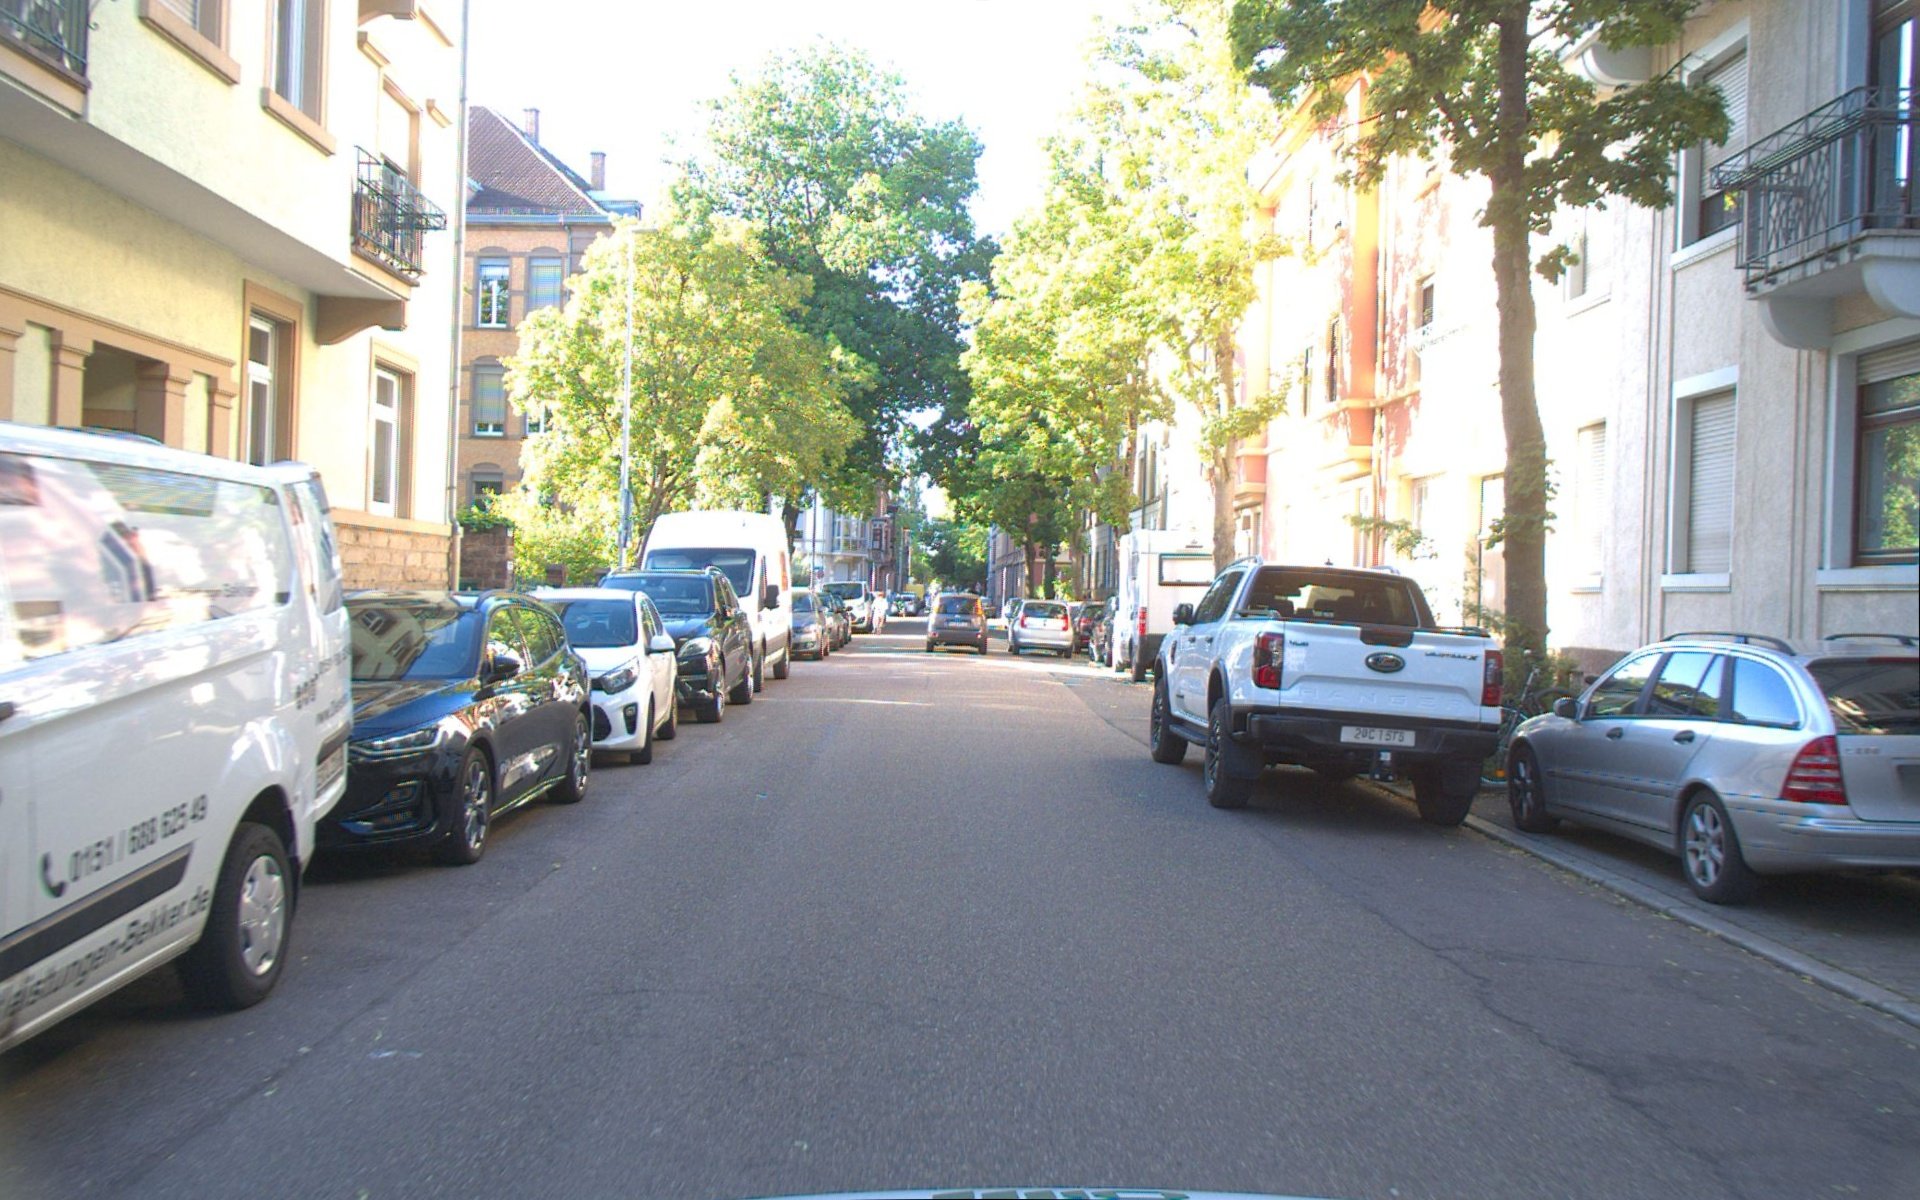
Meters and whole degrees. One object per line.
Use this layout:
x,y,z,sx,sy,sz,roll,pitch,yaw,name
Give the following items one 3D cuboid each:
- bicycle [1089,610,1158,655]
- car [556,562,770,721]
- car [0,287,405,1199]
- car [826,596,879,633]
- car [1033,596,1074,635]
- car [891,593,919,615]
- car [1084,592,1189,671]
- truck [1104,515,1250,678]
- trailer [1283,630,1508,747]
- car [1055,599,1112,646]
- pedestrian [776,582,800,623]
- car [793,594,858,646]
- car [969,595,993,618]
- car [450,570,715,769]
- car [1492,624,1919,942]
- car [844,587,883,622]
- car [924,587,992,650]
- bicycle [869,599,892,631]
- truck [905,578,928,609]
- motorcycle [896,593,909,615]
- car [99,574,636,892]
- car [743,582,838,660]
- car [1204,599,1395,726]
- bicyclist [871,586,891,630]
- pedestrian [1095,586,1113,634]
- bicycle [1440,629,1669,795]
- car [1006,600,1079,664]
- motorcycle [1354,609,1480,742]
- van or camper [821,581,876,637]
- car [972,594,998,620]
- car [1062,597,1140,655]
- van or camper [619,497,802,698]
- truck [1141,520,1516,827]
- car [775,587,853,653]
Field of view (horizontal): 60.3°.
4.387,0.866,44.322,1.774,1.187,0.569,0,0,-2,bicycle
-3.501,0.437,20.412,1.837,1.715,4.968,0,0,-1,car
-3.411,0.368,4.534,2.206,2.206,5.240,-1,0,-3,car
-4.496,0.575,69.561,1.960,1.483,4.605,0,0,-1,car
3.937,0.639,69.912,1.489,1.537,3.543,2,0,0,car
-3.840,0.295,116.520,1.760,1.457,3.925,-2,0,0,car
4.243,0.716,40.459,1.847,1.746,4.942,1,0,-2,car
4.332,-0.084,34.050,2.032,3.020,6.107,-1,0,-2,truck
4.675,0.944,17.815,2.045,1.131,1.111,2,0,-15,trailer
4.073,0.723,55.081,1.564,1.514,3.747,1,0,-1,car
-6.925,0.118,66.569,0.863,1.604,0.529,2,0,0,pedestrian
-3.981,0.550,49.522,1.679,1.419,4.778,-2,0,-2,car
1.501,0.466,118.640,1.629,1.531,3.757,3,0,0,car
-3.337,0.569,15.344,1.602,1.579,4.087,1,0,-2,car
4.862,0.923,10.225,1.646,1.447,4.429,0,0,-1,car
-4.639,0.207,79.868,1.788,1.581,4.131,-2,0,-3,car
-0.089,0.463,43.569,1.600,1.577,3.262,1,0,-3,car
-2.831,0.512,58.860,0.651,1.096,1.685,1,0,1,bicycle
-4.441,-0.662,169.127,2.028,2.977,5.068,-2,0,0,truck
-3.934,0.282,113.221,0.684,1.486,1.747,1,0,-10,motorcycle
-3.399,0.644,10.586,1.730,1.548,4.824,1,0,-1,car
-3.730,0.430,37.023,1.744,1.618,4.468,0,0,-1,car
4.645,0.791,23.308,1.715,1.556,4.781,1,0,0,car
-2.818,0.293,58.839,0.638,1.535,0.625,1,0,1,bicyclist
5.343,0.377,61.425,0.509,1.765,0.878,1,0,-1,pedestrian
5.070,0.947,14.159,1.724,1.328,0.586,2,0,-3,bicycle
2.230,0.840,45.503,1.645,1.571,3.799,3,0,-2,car
5.423,0.863,19.775,0.844,1.440,2.234,3,0,0,motorcycle
-4.286,0.326,64.048,1.883,2.014,5.460,-1,0,-2,van or camper
1.719,0.476,114.150,1.629,1.698,3.757,3,0,0,car
4.120,0.719,48.859,1.750,1.540,4.458,3,0,-2,car
-3.790,-0.048,26.175,2.085,2.817,5.850,0,0,-1,van or camper
2.774,0.477,13.853,1.791,1.983,5.540,2,0,-1,truck
-3.771,0.480,43.227,1.642,1.600,4.151,-1,0,0,car
